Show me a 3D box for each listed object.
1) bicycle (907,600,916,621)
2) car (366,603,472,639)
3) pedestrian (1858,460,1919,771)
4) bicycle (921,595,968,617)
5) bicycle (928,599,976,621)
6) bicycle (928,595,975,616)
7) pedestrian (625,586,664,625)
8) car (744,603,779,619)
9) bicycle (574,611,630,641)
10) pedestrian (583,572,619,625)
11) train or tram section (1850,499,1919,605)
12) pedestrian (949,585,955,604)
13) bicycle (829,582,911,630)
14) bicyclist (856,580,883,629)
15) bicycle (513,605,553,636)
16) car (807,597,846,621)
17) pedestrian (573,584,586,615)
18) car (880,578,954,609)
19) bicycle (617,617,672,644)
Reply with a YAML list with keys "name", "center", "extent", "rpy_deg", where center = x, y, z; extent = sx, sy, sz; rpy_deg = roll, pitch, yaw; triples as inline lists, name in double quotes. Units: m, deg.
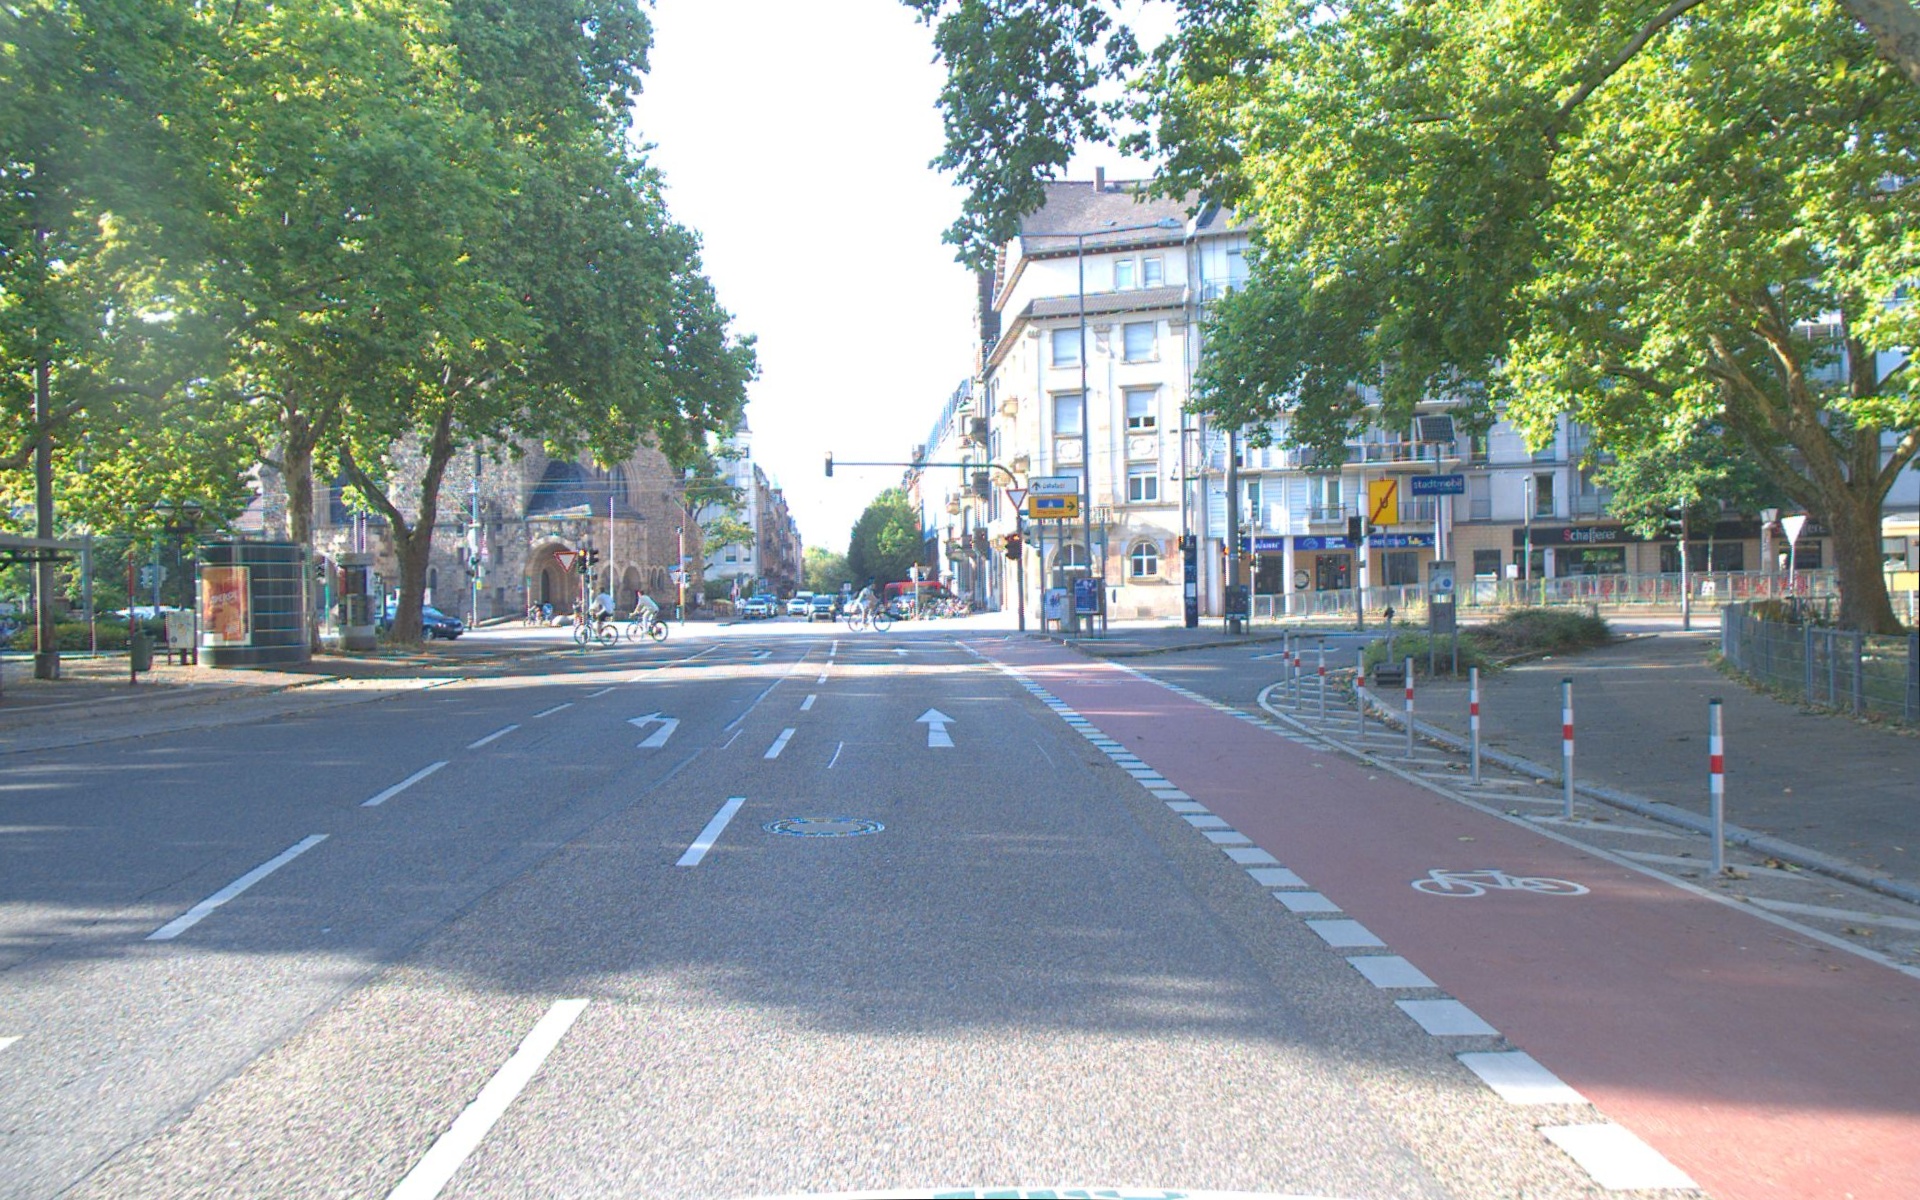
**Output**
- name: "bicycle"
  center: [-2.917, 0.646, 99.350]
  extent: [0.498, 1.225, 2.091]
  rpy_deg: [1, -1, -2]
- name: "car"
  center: [-22.139, 0.872, 67.690]
  extent: [3.843, 1.421, 1.653]
  rpy_deg: [0, -1, 17]
- name: "pedestrian"
  center: [6.716, 0.081, 10.887]
  extent: [0.810, 2.048, 1.153]
  rpy_deg: [-4, -1, -1]
- name: "bicycle"
  center: [-0.917, 0.343, 97.399]
  extent: [2.749, 1.225, 0.516]
  rpy_deg: [1, -1, -7]
- name: "bicycle"
  center: [-0.461, 0.594, 95.941]
  extent: [2.749, 1.225, 0.509]
  rpy_deg: [1, -1, -7]
- name: "bicycle"
  center: [-0.520, 0.349, 98.195]
  extent: [2.749, 1.225, 0.509]
  rpy_deg: [1, -1, -7]
- name: "pedestrian"
  center: [-10.830, 0.191, 56.741]
  extent: [1.028, 1.300, 0.791]
  rpy_deg: [0, -1, 26]
- name: "car"
  center: [-15.696, 0.891, 130.959]
  extent: [1.560, 1.164, 3.386]
  rpy_deg: [0, -1, 15]
- name: "bicycle"
  center: [-11.881, 0.861, 54.890]
  extent: [1.746, 0.999, 0.657]
  rpy_deg: [0, -1, 20]
- name: "pedestrian"
  center: [-11.907, -0.043, 54.914]
  extent: [0.970, 1.738, 0.628]
  rpy_deg: [0, -1, 21]
- name: "train or tram section"
  center: [38.373, -1.670, 58.699]
  extent: [11.547, 3.704, 3.417]
  rpy_deg: [0, -1, 21]
- name: "pedestrian"
  center: [-0.562, -0.406, 116.780]
  extent: [0.386, 1.312, 0.431]
  rpy_deg: [1, -1, 1]
- name: "bicycle"
  center: [-3.160, 0.215, 58.246]
  extent: [2.781, 1.685, 0.831]
  rpy_deg: [0, -1, 8]
- name: "bicyclist"
  center: [-3.181, 0.171, 58.271]
  extent: [0.785, 1.685, 0.935]
  rpy_deg: [0, -1, 8]
- name: "bicycle"
  center: [-25.162, 1.203, 97.526]
  extent: [1.259, 1.780, 4.000]
  rpy_deg: [1, -1, 1]
- name: "car"
  center: [-8.455, 0.565, 104.867]
  extent: [1.553, 1.488, 3.186]
  rpy_deg: [0, -1, 13]
- name: "pedestrian"
  center: [-22.593, -0.041, 98.102]
  extent: [0.598, 1.822, 0.710]
  rpy_deg: [1, -1, -3]
- name: "car"
  center: [-3.013, -0.465, 116.265]
  extent: [4.955, 2.049, 2.136]
  rpy_deg: [1, -1, -40]
- name: "bicycle"
  center: [-10.827, 1.043, 56.710]
  extent: [1.746, 0.911, 0.750]
  rpy_deg: [-1, 0, 26]
